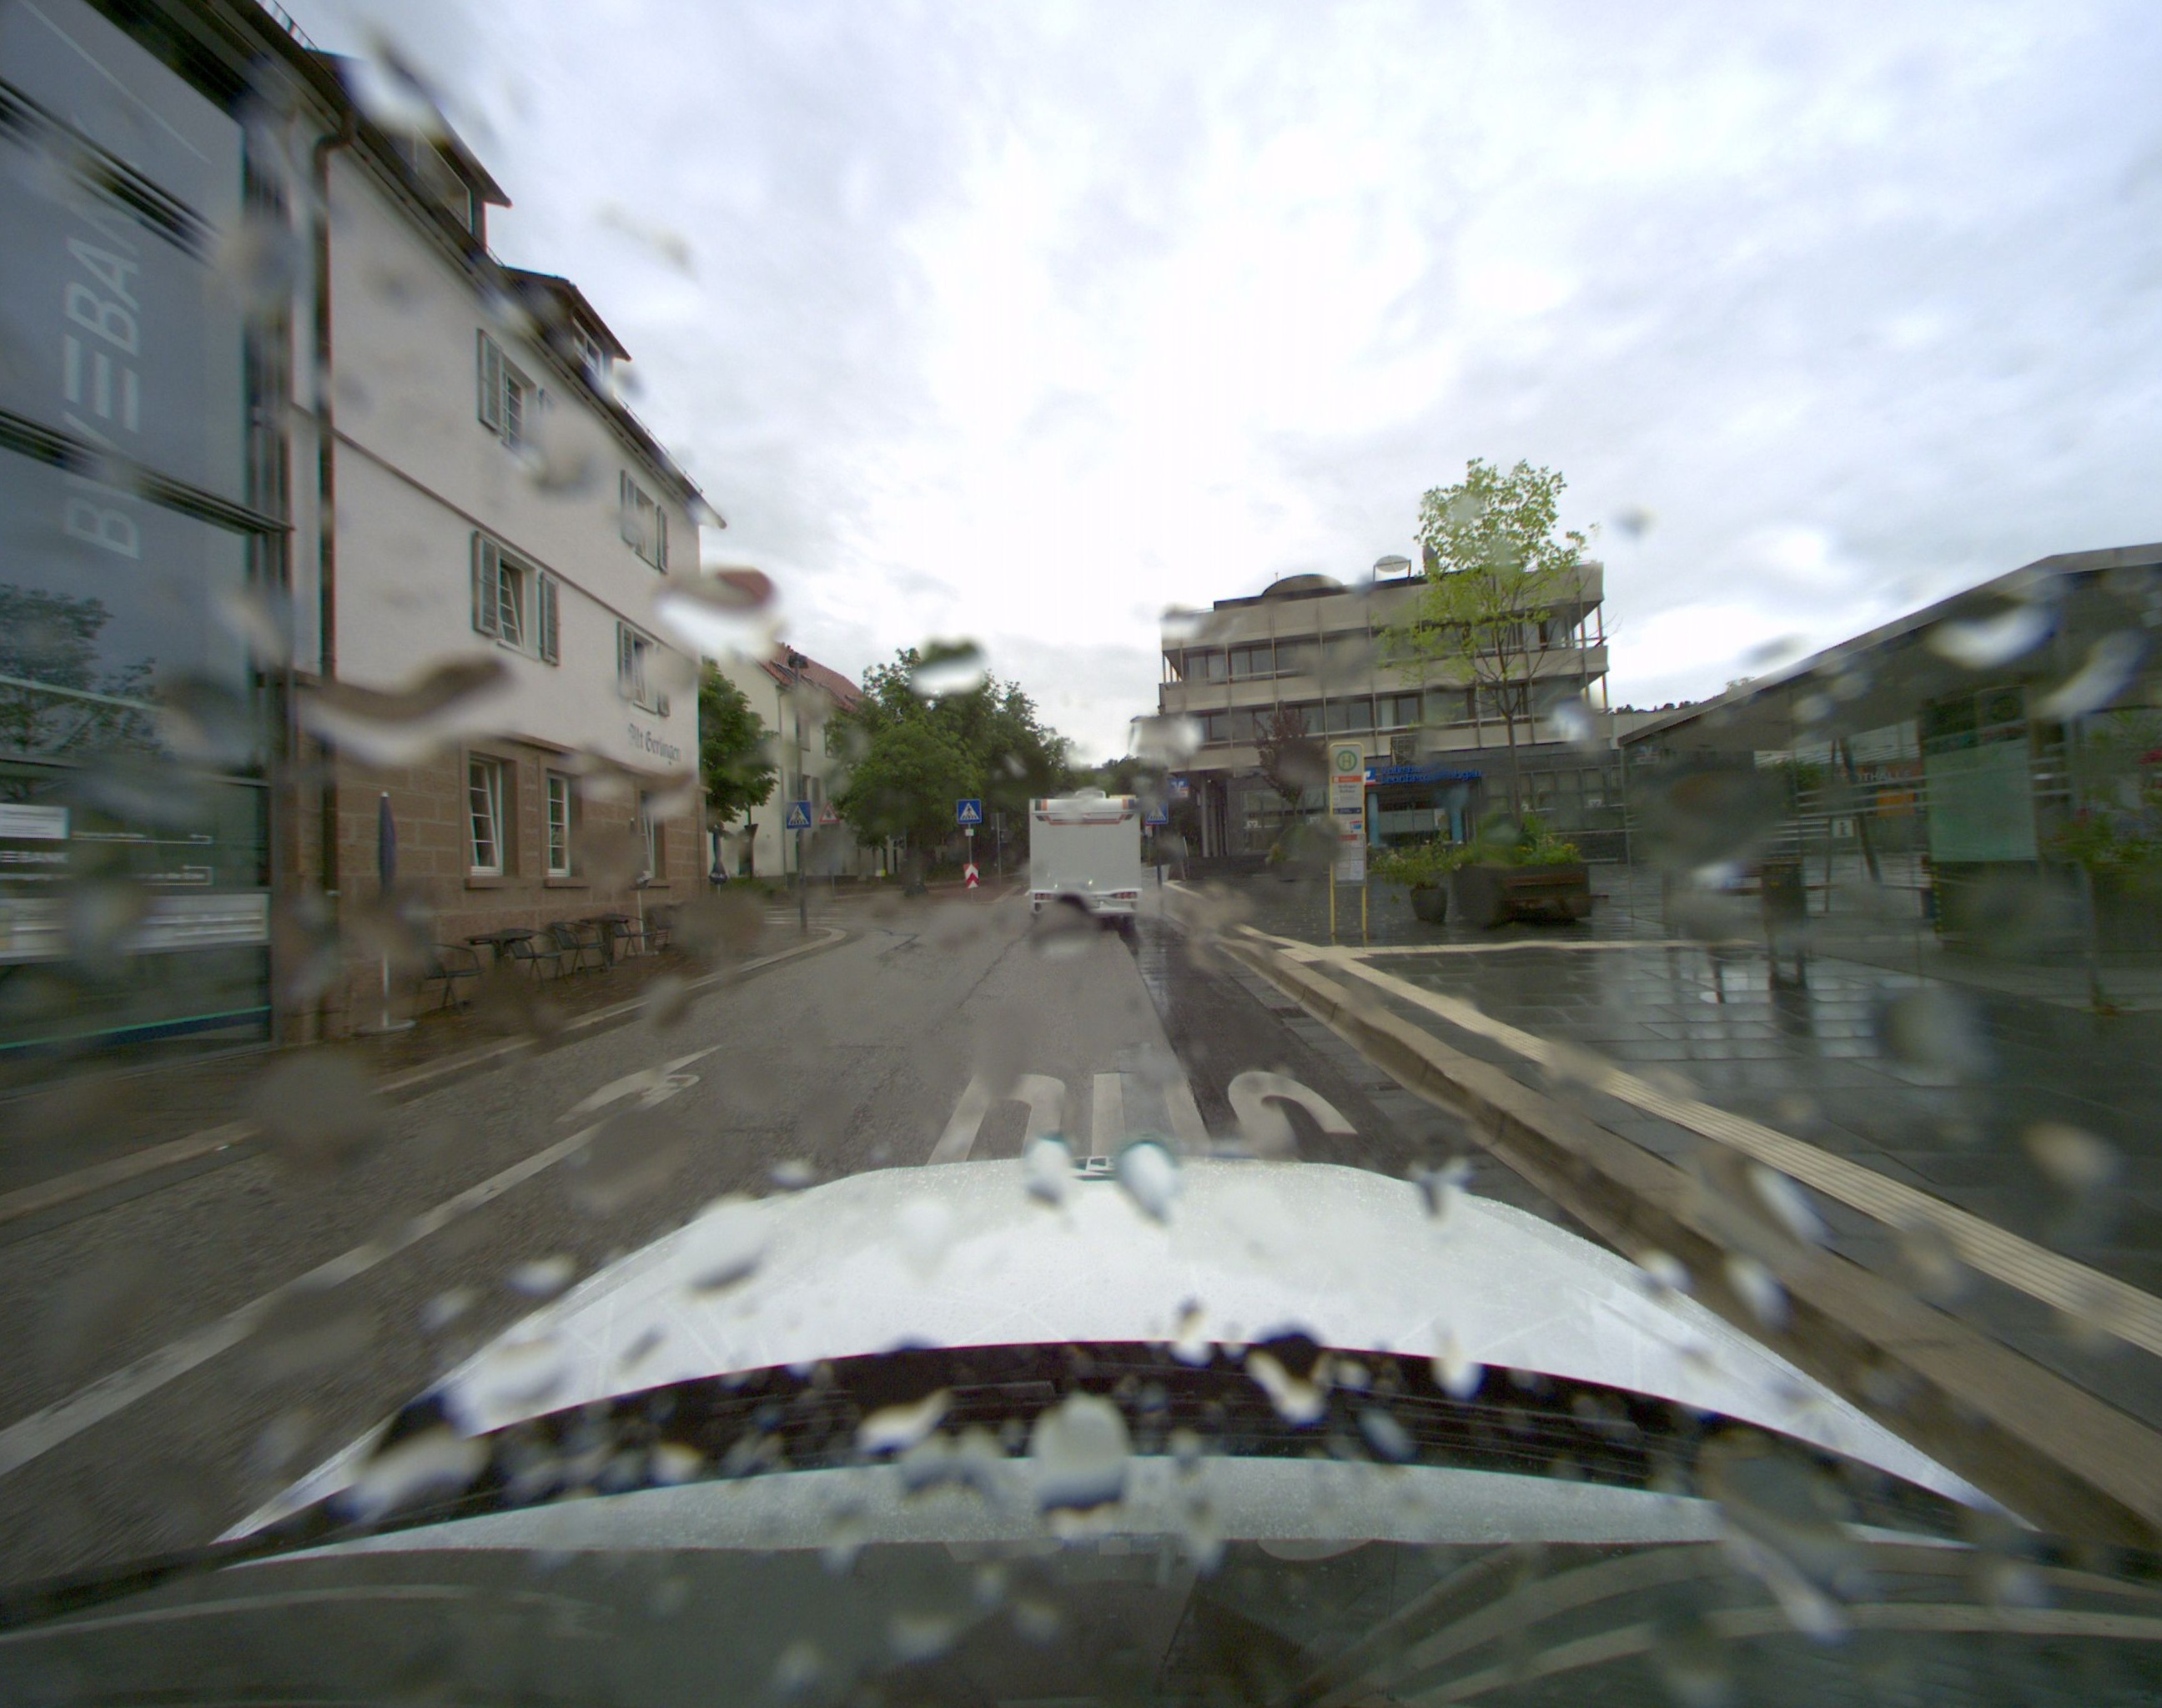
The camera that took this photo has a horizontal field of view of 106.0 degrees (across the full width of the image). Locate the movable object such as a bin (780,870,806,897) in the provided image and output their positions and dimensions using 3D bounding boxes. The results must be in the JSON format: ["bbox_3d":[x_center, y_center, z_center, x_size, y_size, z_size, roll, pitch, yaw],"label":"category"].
[{"bbox_3d":[-11.978,1.220,33.899,0.628,1.059,0.702,-4,-1,25],"label":"movable object such as a bin"}]

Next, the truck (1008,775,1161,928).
[{"bbox_3d":[0.073,-0.005,18.909,2.797,2.797,6.105,-4,-1,0],"label":"truck"}]

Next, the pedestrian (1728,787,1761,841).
[{"bbox_3d":[27.362,-1.627,33.609,0.751,2.147,0.662,-4,-1,20],"label":"pedestrian"}]
